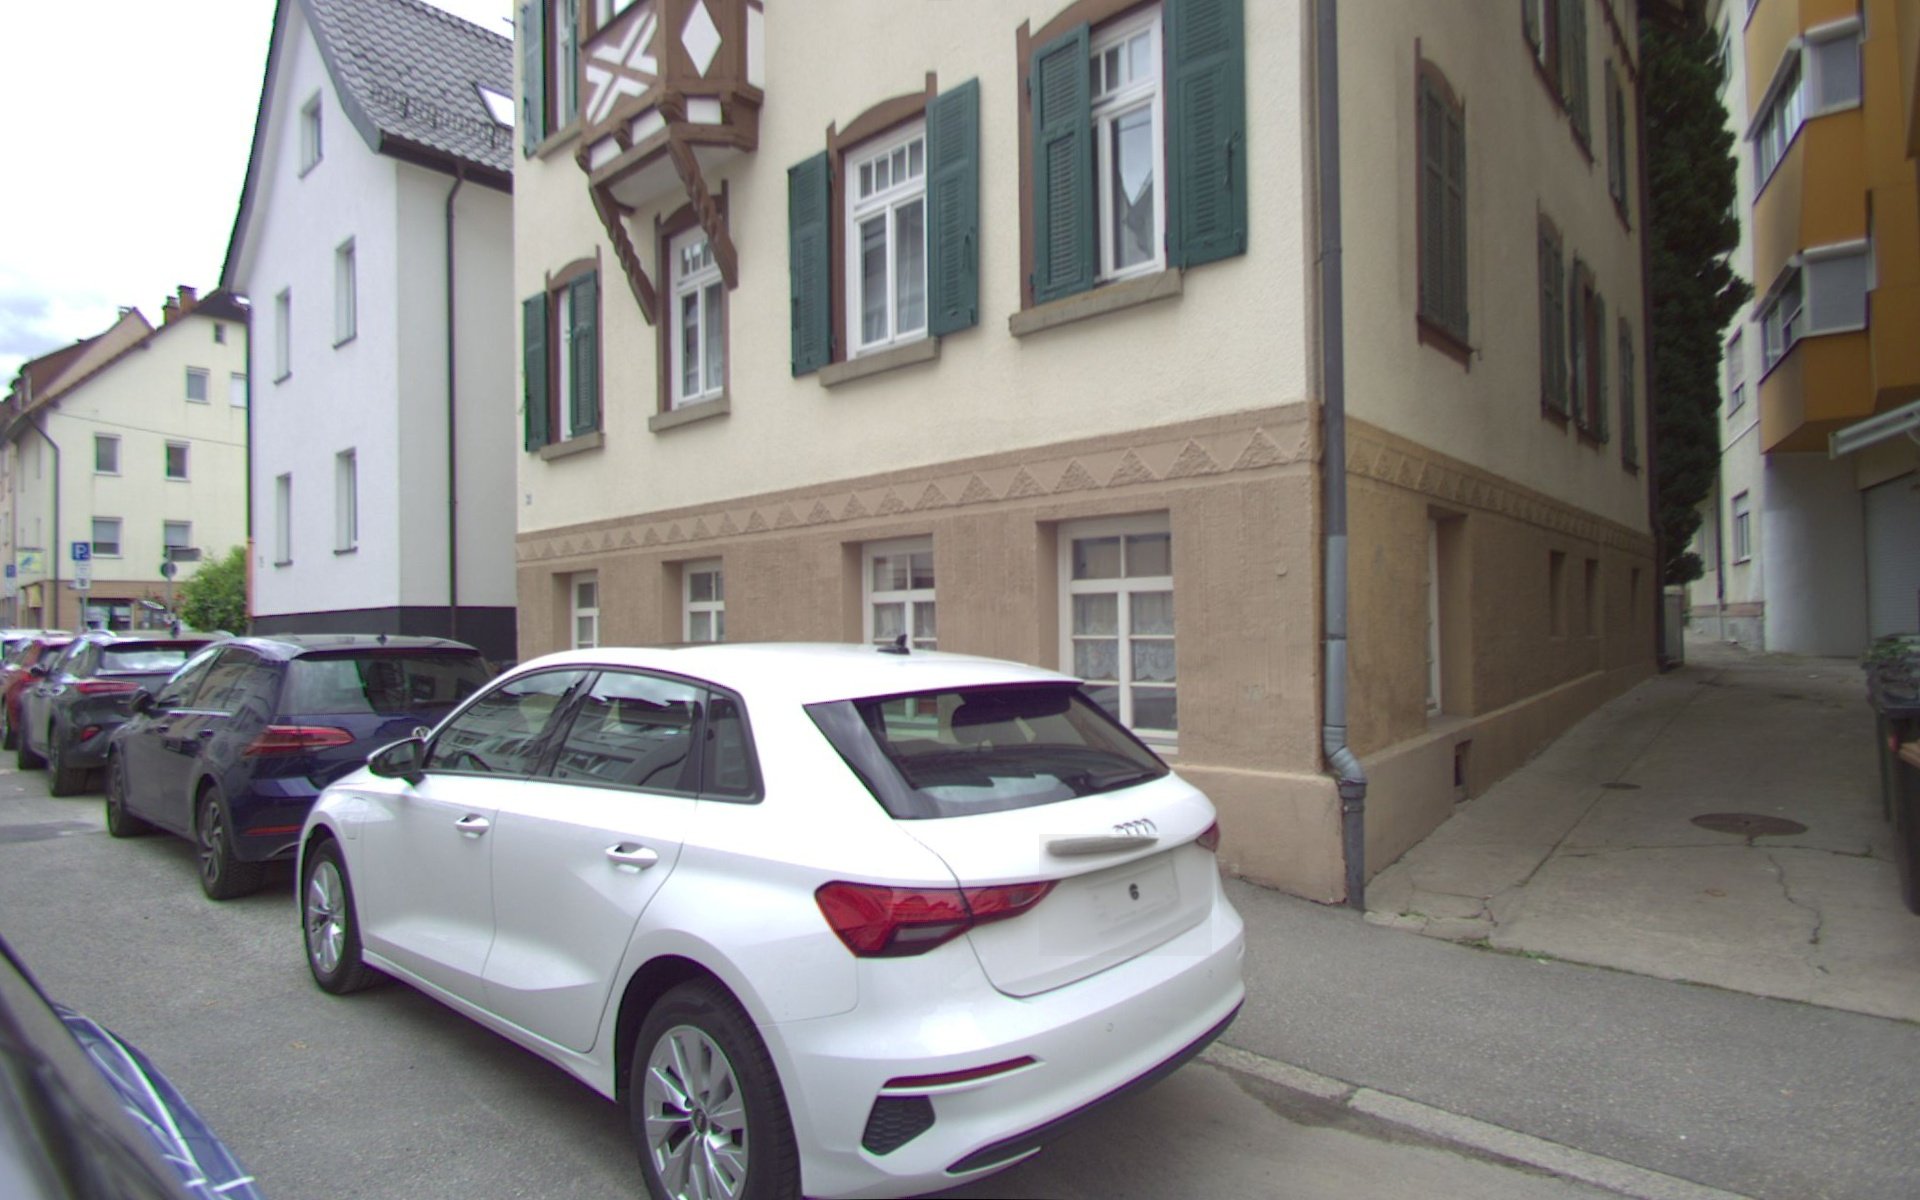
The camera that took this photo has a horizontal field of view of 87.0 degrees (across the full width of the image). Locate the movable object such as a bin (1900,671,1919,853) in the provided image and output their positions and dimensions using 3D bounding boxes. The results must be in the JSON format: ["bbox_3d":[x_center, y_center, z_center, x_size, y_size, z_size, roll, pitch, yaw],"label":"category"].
[{"bbox_3d":[5.412,0.868,5.364,0.546,0.931,0.499,-2,0,37],"label":"movable object such as a bin"}]

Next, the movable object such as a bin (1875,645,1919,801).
[{"bbox_3d":[6.143,0.758,6.326,0.546,0.931,0.499,-2,0,37],"label":"movable object such as a bin"}]

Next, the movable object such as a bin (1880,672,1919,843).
[{"bbox_3d":[5.748,0.907,5.861,0.546,0.931,0.499,-2,0,37],"label":"movable object such as a bin"}]

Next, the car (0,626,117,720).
[{"bbox_3d":[-16.341,1.187,17.579,4.345,1.442,1.734,0,-3,39],"label":"car"}]

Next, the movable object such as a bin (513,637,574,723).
[{"bbox_3d":[-5.618,1.061,13.636,0.668,1.094,0.508,-2,-1,42],"label":"movable object such as a bin"}]

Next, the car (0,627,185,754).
[{"bbox_3d":[-12.249,1.140,13.928,4.065,1.460,1.733,-1,-3,42],"label":"car"}]

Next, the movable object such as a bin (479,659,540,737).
[{"bbox_3d":[-5.828,1.250,13.090,0.603,0.939,0.508,-2,-1,42],"label":"movable object such as a bin"}]

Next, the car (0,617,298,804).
[{"bbox_3d":[-8.416,0.976,10.373,4.084,1.521,1.732,-1,-3,43],"label":"car"}]

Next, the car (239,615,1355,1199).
[{"bbox_3d":[-1.035,0.816,3.786,4.368,1.443,1.733,-1,-3,42],"label":"car"}]

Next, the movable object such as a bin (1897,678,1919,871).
[{"bbox_3d":[5.017,0.860,4.956,0.546,0.901,0.499,-2,0,37],"label":"movable object such as a bin"}]

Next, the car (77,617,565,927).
[{"bbox_3d":[-4.611,0.892,6.995,4.370,1.467,1.732,-1,-3,43],"label":"car"}]
